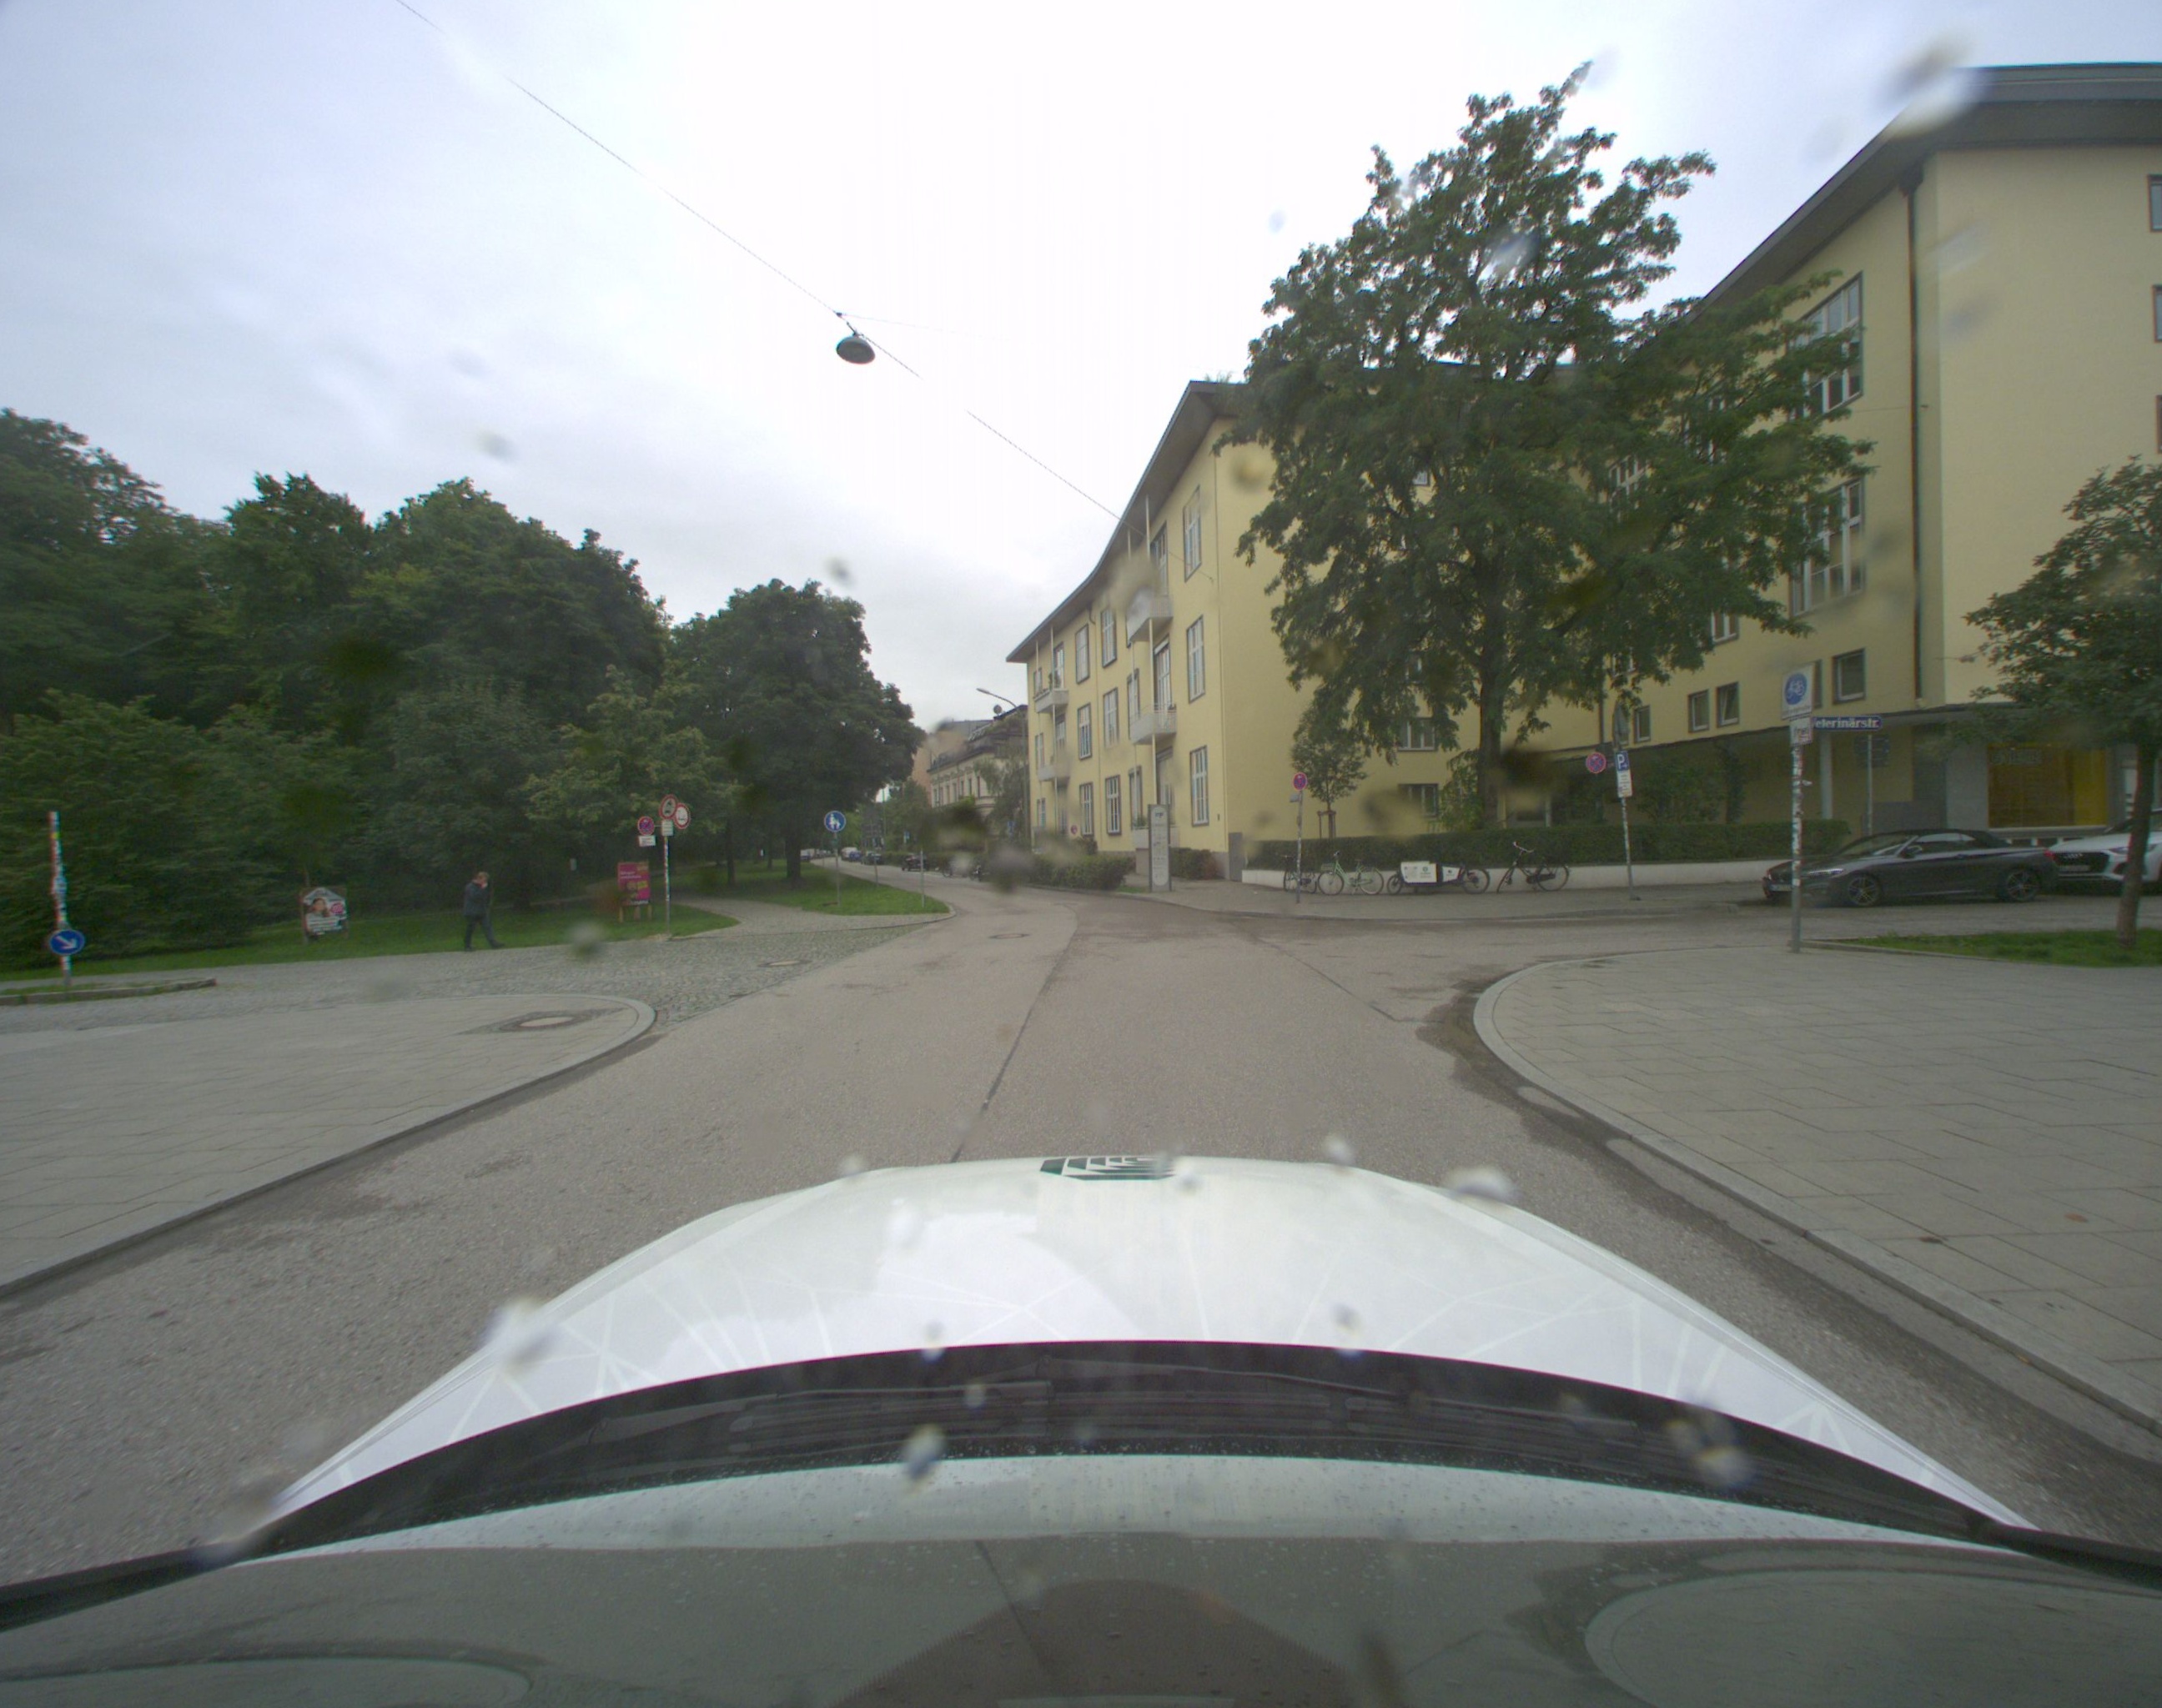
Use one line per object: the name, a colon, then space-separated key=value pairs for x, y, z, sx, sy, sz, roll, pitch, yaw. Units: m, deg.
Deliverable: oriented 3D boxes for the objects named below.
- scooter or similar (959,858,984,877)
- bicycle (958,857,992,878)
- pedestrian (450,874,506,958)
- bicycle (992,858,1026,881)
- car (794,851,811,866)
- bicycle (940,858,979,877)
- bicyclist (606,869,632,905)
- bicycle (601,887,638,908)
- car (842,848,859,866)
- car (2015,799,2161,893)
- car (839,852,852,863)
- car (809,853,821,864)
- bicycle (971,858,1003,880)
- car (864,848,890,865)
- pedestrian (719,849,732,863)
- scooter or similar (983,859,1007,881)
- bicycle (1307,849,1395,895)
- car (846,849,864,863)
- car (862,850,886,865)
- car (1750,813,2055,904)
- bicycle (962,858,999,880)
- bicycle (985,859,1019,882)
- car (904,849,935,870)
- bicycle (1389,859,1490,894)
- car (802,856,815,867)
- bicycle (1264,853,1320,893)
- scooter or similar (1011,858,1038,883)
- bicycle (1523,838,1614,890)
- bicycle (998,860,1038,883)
scooter or similar: x=-6.826 y=0.818 z=50.723 sx=1.402 sy=1.088 sz=0.596 roll=-3 pitch=1 yaw=-3
bicycle: x=-6.025 y=0.744 z=46.570 sx=0.755 sy=1.085 sz=2.154 roll=-3 pitch=1 yaw=29
pedestrian: x=-13.227 y=1.335 z=17.880 sx=0.731 sy=1.752 sz=0.656 roll=-3 pitch=0 yaw=-17
bicycle: x=-3.733 y=0.819 z=42.578 sx=0.570 sy=1.085 sz=1.946 roll=-3 pitch=1 yaw=36
car: x=-36.662 y=0.646 z=107.183 sx=2.001 sy=1.837 sz=3.972 roll=-3 pitch=0 yaw=-21
bicycle: x=-7.841 y=0.853 z=52.503 sx=2.343 sy=1.085 sz=0.687 roll=-3 pitch=1 yaw=-26
bicyclist: x=-19.232 y=1.376 z=33.897 sx=0.638 sy=1.460 sz=0.633 roll=-2 pitch=0 yaw=21
bicycle: x=-19.188 y=1.802 z=33.879 sx=0.435 sy=0.776 sz=1.368 roll=-2 pitch=0 yaw=22
car: x=-33.423 y=0.469 z=118.175 sx=1.883 sy=2.568 sz=4.897 roll=-3 pitch=0 yaw=-21
car: x=20.868 y=-0.233 z=15.310 sx=4.250 sy=1.633 sz=1.852 roll=-3 pitch=-1 yaw=4
car: x=-37.323 y=0.582 z=128.957 sx=1.650 sy=1.652 sz=4.255 roll=-2 pitch=0 yaw=-20
car: x=-49.545 y=0.862 z=151.574 sx=1.999 sy=1.837 sz=3.976 roll=-3 pitch=0 yaw=-18
bicycle: x=-5.070 y=0.803 z=43.970 sx=0.631 sy=1.085 sz=1.998 roll=-3 pitch=1 yaw=29
car: x=-22.659 y=0.295 z=90.303 sx=2.185 sy=1.657 sz=4.473 roll=-3 pitch=0 yaw=-21
pedestrian: x=-51.280 y=0.313 z=117.425 sx=1.022 sy=1.945 sz=1.336 roll=-3 pitch=1 yaw=27
scooter or similar: x=-4.599 y=0.839 z=43.582 sx=0.490 sy=1.088 sz=1.419 roll=-3 pitch=1 yaw=32
bicycle: x=7.010 y=0.470 z=21.235 sx=0.613 sy=1.117 sz=2.192 roll=-2 pitch=0 yaw=-37
car: x=-30.376 y=0.309 z=109.294 sx=1.883 sy=1.815 sz=3.972 roll=-3 pitch=0 yaw=-21
car: x=-24.448 y=0.388 z=95.941 sx=2.185 sy=1.657 sz=4.473 roll=-3 pitch=0 yaw=-21
car: x=15.488 y=0.099 z=15.532 sx=3.957 sy=1.435 sz=1.608 roll=-3 pitch=-1 yaw=5
bicycle: x=-5.508 y=0.817 z=44.742 sx=0.689 sy=1.085 sz=2.353 roll=-3 pitch=1 yaw=29
bicycle: x=-4.169 y=0.850 z=43.183 sx=0.570 sy=1.085 sz=1.946 roll=-3 pitch=1 yaw=36
car: x=-13.247 y=0.451 z=66.627 sx=1.868 sy=1.633 sz=4.257 roll=-3 pitch=0 yaw=-18
bicycle: x=8.710 y=0.550 z=19.818 sx=2.190 sy=0.779 sz=0.614 roll=-2 pitch=0 yaw=24
car: x=-46.583 y=1.305 z=139.112 sx=2.001 sy=1.837 sz=3.972 roll=-3 pitch=0 yaw=-21
bicycle: x=6.085 y=0.528 z=23.570 sx=0.609 sy=1.072 sz=2.208 roll=-3 pitch=1 yaw=-12
scooter or similar: x=-2.673 y=0.783 z=38.973 sx=0.490 sy=1.109 sz=1.419 roll=-3 pitch=1 yaw=32
bicycle: x=11.478 y=0.241 z=19.219 sx=1.725 sy=1.150 sz=0.612 roll=-2 pitch=0 yaw=8
bicycle: x=-3.122 y=0.877 z=40.312 sx=1.831 sy=1.005 sz=0.573 roll=-3 pitch=1 yaw=-23
